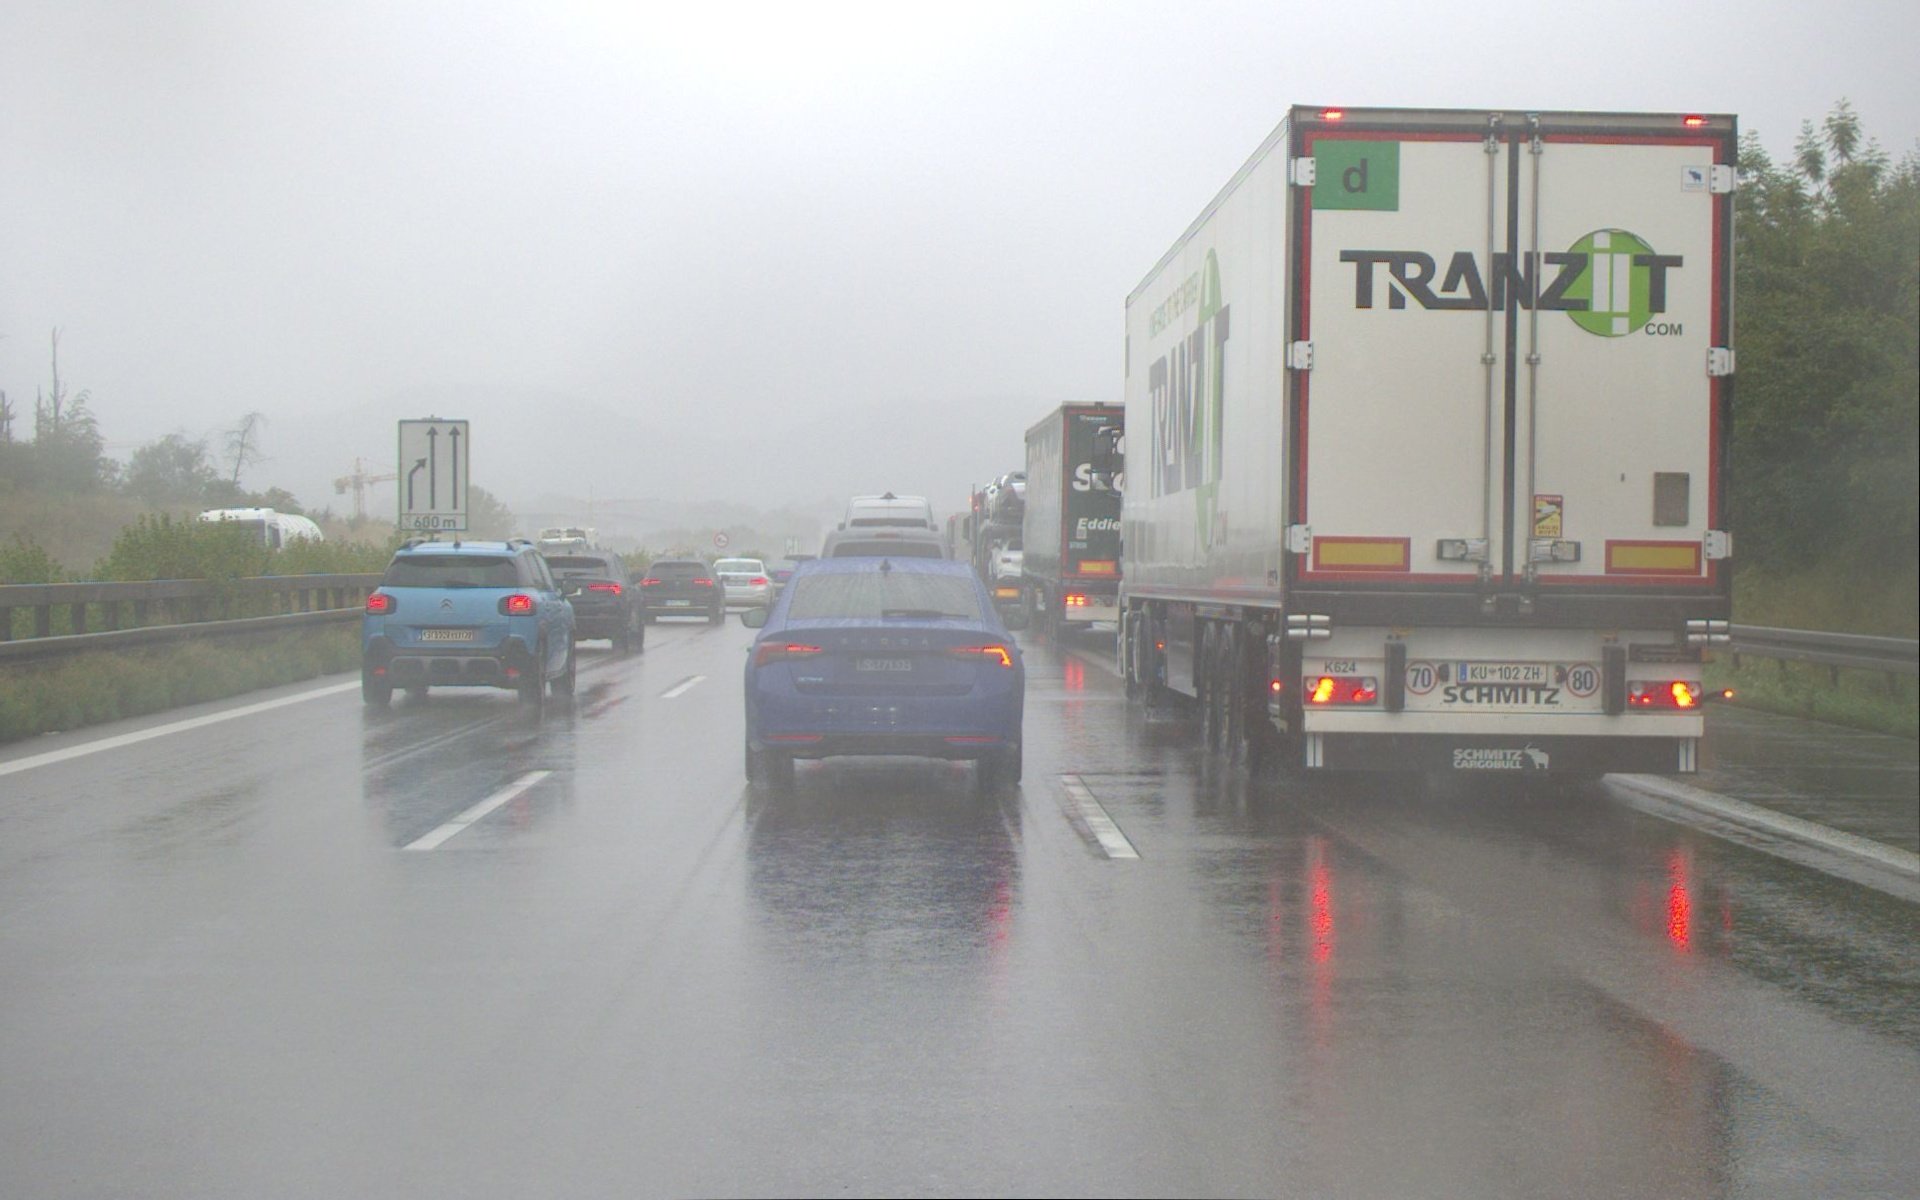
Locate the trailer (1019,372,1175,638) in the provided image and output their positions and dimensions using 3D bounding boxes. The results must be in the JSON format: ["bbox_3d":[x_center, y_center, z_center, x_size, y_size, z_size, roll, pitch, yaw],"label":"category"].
[{"bbox_3d":[2.249,-1.608,59.747,2.047,4.162,11.449,0,1,-1],"label":"trailer"}]

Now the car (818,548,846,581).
[{"bbox_3d":[-6.989,-1.920,187.950,1.448,1.777,3.409,1,1,-1],"label":"car"}]

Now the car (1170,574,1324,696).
[{"bbox_3d":[3.254,0.373,39.450,1.423,1.284,3.461,0,1,-1],"label":"car"}]

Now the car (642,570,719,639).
[{"bbox_3d":[-6.061,0.086,74.784,1.439,1.415,3.322,0,1,-1],"label":"car"}]

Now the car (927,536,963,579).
[{"bbox_3d":[-0.625,-1.775,145.146,1.448,1.777,3.409,1,1,-1],"label":"car"}]

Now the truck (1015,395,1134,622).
[{"bbox_3d":[2.149,-1.729,65.560,2.047,4.178,4.000,0,1,-1],"label":"truck"}]

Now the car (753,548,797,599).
[{"bbox_3d":[-6.585,-0.935,122.570,1.448,1.777,3.409,1,1,-1],"label":"car"}]

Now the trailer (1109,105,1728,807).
[{"bbox_3d":[2.941,-0.963,26.976,2.630,3.999,14.630,0,1,-1],"label":"trailer"}]

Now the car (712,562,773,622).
[{"bbox_3d":[-5.719,-0.221,90.514,1.439,1.528,3.322,0,1,-1],"label":"car"}]

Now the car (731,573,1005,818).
[{"bbox_3d":[-0.561,0.557,22.623,1.635,1.440,4.000,0,1,0],"label":"car"}]

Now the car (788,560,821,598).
[{"bbox_3d":[-7.313,-0.990,161.829,1.448,1.777,3.409,1,1,-1],"label":"car"}]

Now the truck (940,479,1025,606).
[{"bbox_3d":[0.580,-1.647,96.569,1.993,3.410,8.033,0,1,-2],"label":"truck"}]

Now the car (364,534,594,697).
[{"bbox_3d":[-4.713,0.113,34.164,1.721,1.518,4.000,0,1,0],"label":"car"}]

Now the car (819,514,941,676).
[{"bbox_3d":[-0.911,-0.091,39.484,1.336,1.773,3.322,0,1,-1],"label":"car"}]

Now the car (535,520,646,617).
[{"bbox_3d":[-5.573,-0.491,52.130,1.359,1.426,3.364,0,1,-1],"label":"car"}]

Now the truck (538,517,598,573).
[{"bbox_3d":[-20.010,-2.791,175.693,2.481,2.710,4.528,-1,0,0],"label":"truck"}]

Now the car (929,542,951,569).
[{"bbox_3d":[-1.367,-3.031,233.708,1.448,1.777,3.409,1,1,-1],"label":"car"}]

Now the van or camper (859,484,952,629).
[{"bbox_3d":[-1.102,-0.888,69.215,1.797,2.797,4.768,0,1,-1],"label":"van or camper"}]

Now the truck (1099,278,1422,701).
[{"bbox_3d":[2.824,-1.047,33.566,2.630,3.814,4.791,0,1,-1],"label":"truck"}]
